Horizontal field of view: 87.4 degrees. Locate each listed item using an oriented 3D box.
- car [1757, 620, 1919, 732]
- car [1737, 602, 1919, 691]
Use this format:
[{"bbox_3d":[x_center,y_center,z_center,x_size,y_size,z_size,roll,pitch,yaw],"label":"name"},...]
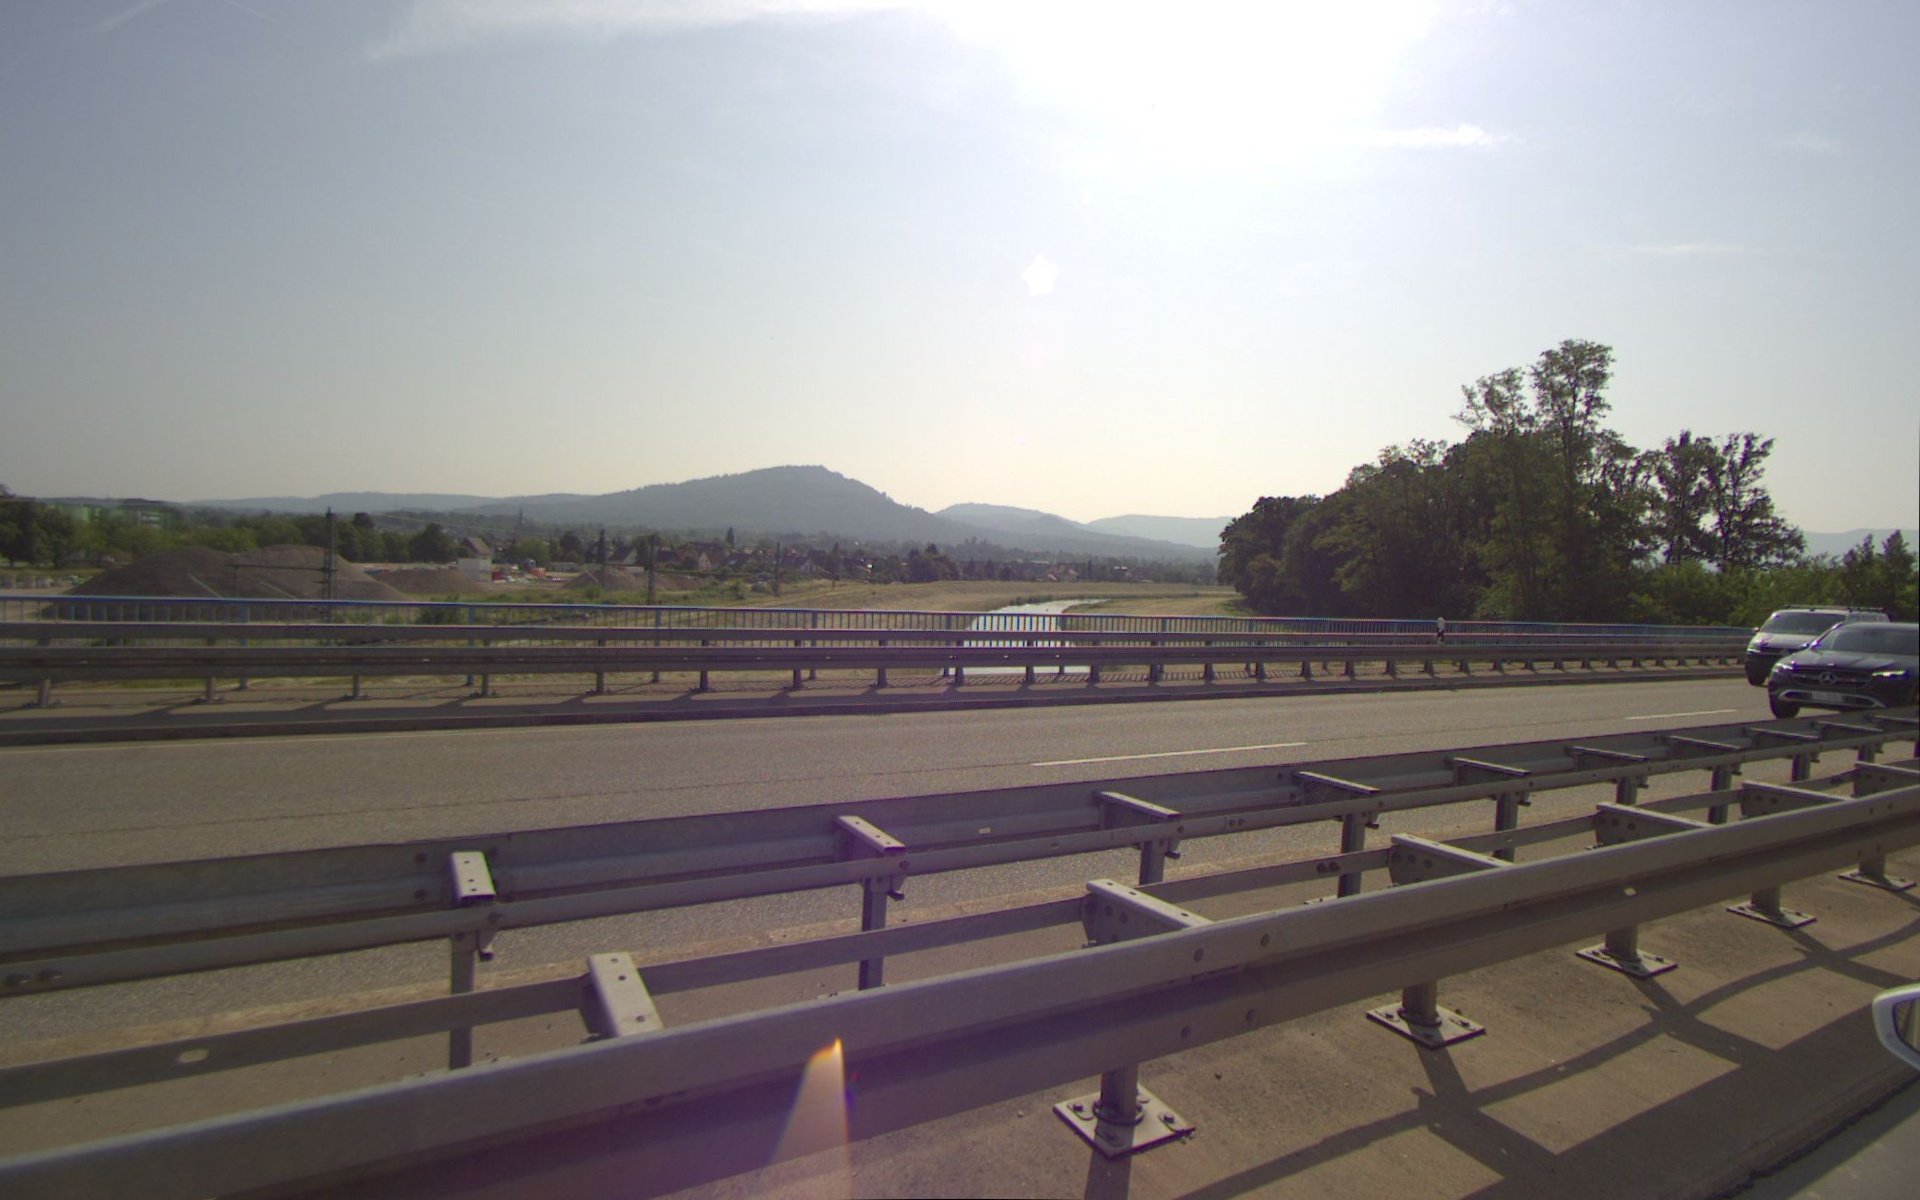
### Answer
[{"bbox_3d":[15.685,1.208,17.183,4.369,1.629,1.854,1,1,-32],"label":"car"},{"bbox_3d":[22.226,1.132,25.666,5.249,2.033,2.027,1,1,-32],"label":"car"}]
